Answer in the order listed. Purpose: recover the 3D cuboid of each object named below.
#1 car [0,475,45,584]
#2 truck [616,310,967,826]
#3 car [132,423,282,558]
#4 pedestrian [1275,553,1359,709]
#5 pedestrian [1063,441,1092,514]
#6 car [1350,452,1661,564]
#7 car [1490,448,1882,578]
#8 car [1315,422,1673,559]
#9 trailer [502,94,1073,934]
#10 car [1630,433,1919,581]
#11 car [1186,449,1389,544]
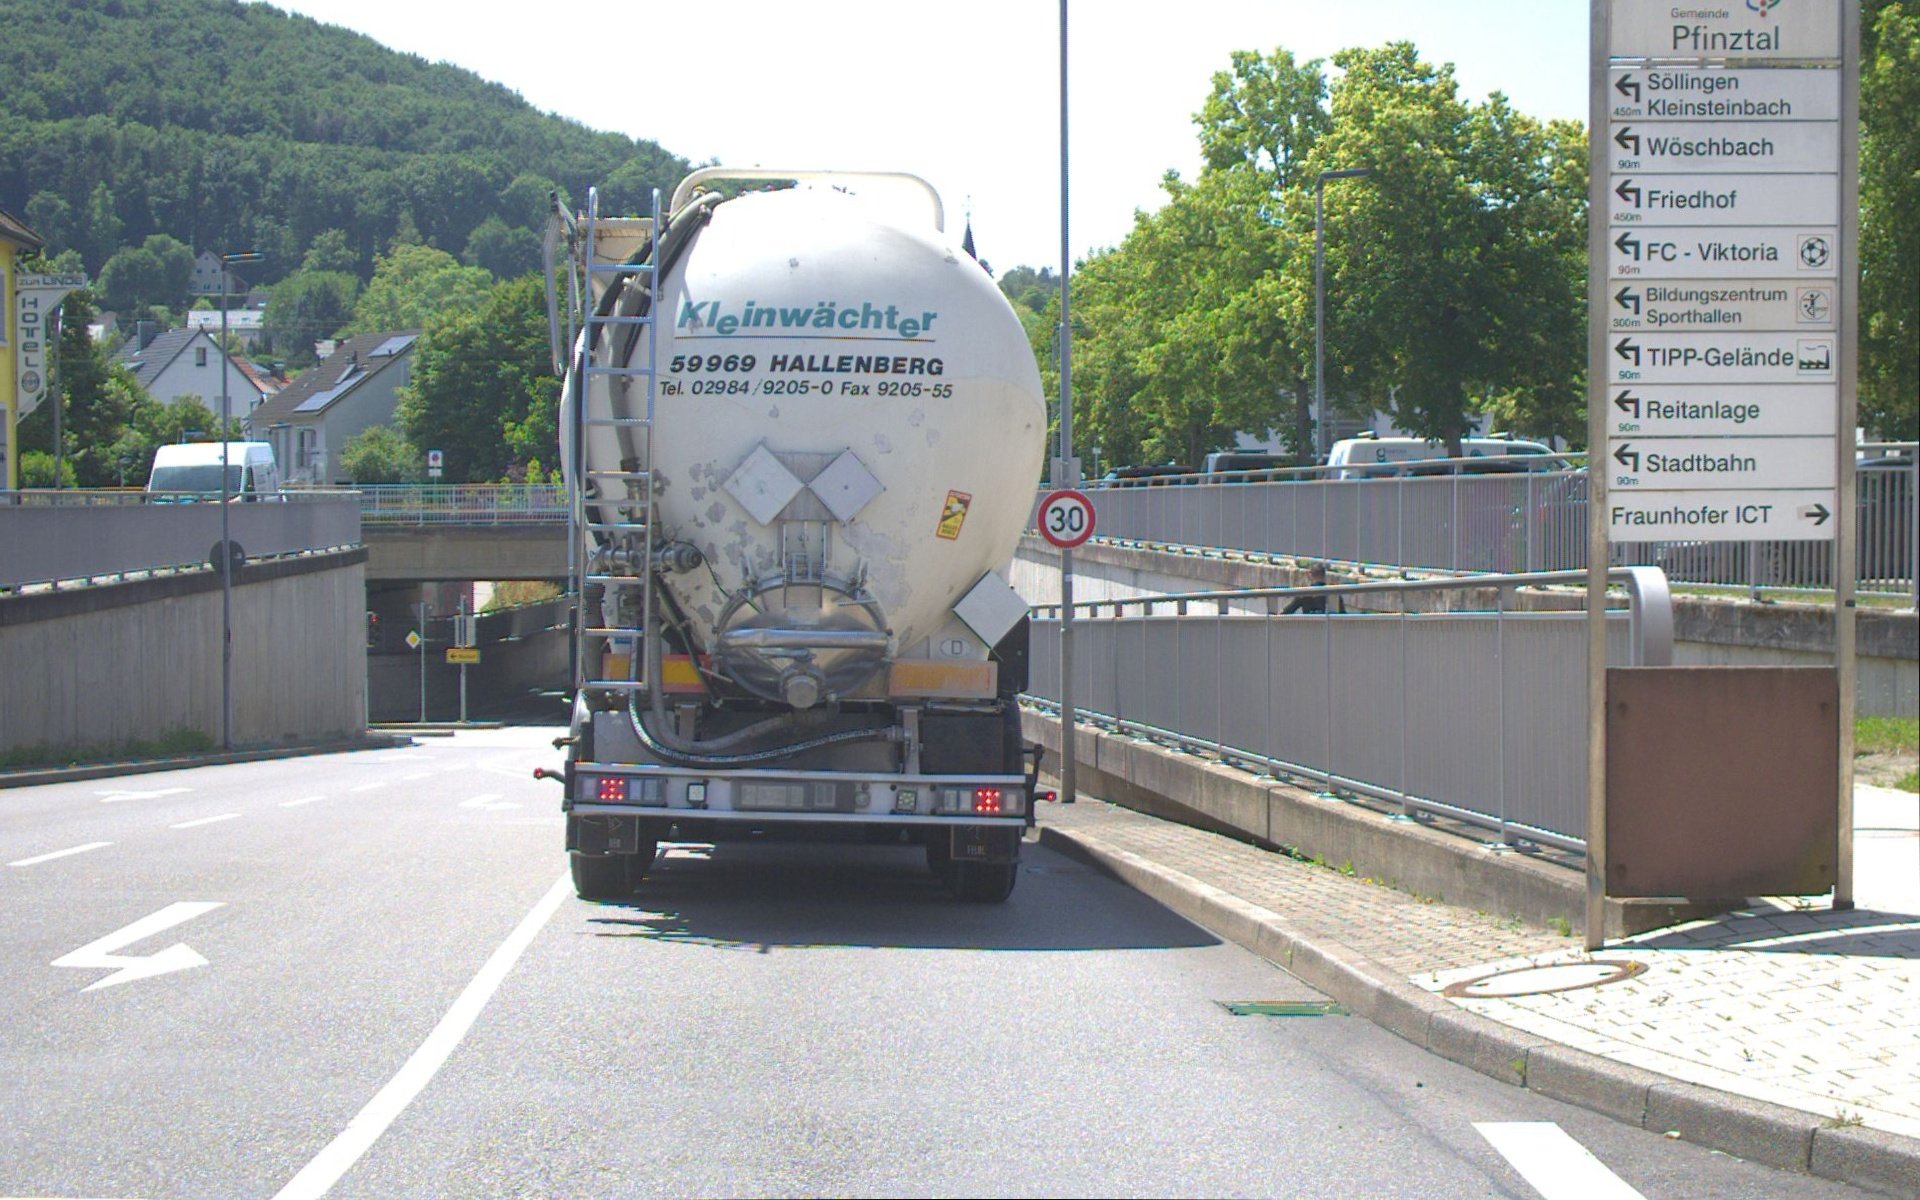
[{"bbox_3d":[-13.867,-0.989,46.928,1.813,1.457,4.310,1,2,-3],"label":"car"},{"bbox_3d":[-1.477,-0.199,30.409,2.734,4.051,6.529,0,-1,-3],"label":"truck"},{"bbox_3d":[-15.086,-2.192,69.136,2.065,2.528,5.662,2,2,-4],"label":"car"},{"bbox_3d":[4.086,0.356,39.424,0.836,1.776,0.788,0,-1,-3],"label":"pedestrian"},{"bbox_3d":[2.887,-3.010,84.551,0.673,1.773,0.594,0,1,-2],"label":"pedestrian"},{"bbox_3d":[7.868,-1.341,49.826,4.204,1.590,1.686,0,2,-2],"label":"car"},{"bbox_3d":[8.464,-1.023,40.294,4.204,1.493,1.686,0,2,-2],"label":"car"},{"bbox_3d":[8.126,-1.670,52.595,5.112,2.056,1.989,0,2,-2],"label":"car"},{"bbox_3d":[-1.134,-0.311,23.320,2.734,4.051,13.313,0,-1,-3],"label":"trailer"},{"bbox_3d":[9.125,-0.964,35.598,3.986,1.493,1.749,0,2,-2],"label":"car"},{"bbox_3d":[6.594,-2.093,69.499,3.905,1.878,1.686,0,2,-2],"label":"car"}]
